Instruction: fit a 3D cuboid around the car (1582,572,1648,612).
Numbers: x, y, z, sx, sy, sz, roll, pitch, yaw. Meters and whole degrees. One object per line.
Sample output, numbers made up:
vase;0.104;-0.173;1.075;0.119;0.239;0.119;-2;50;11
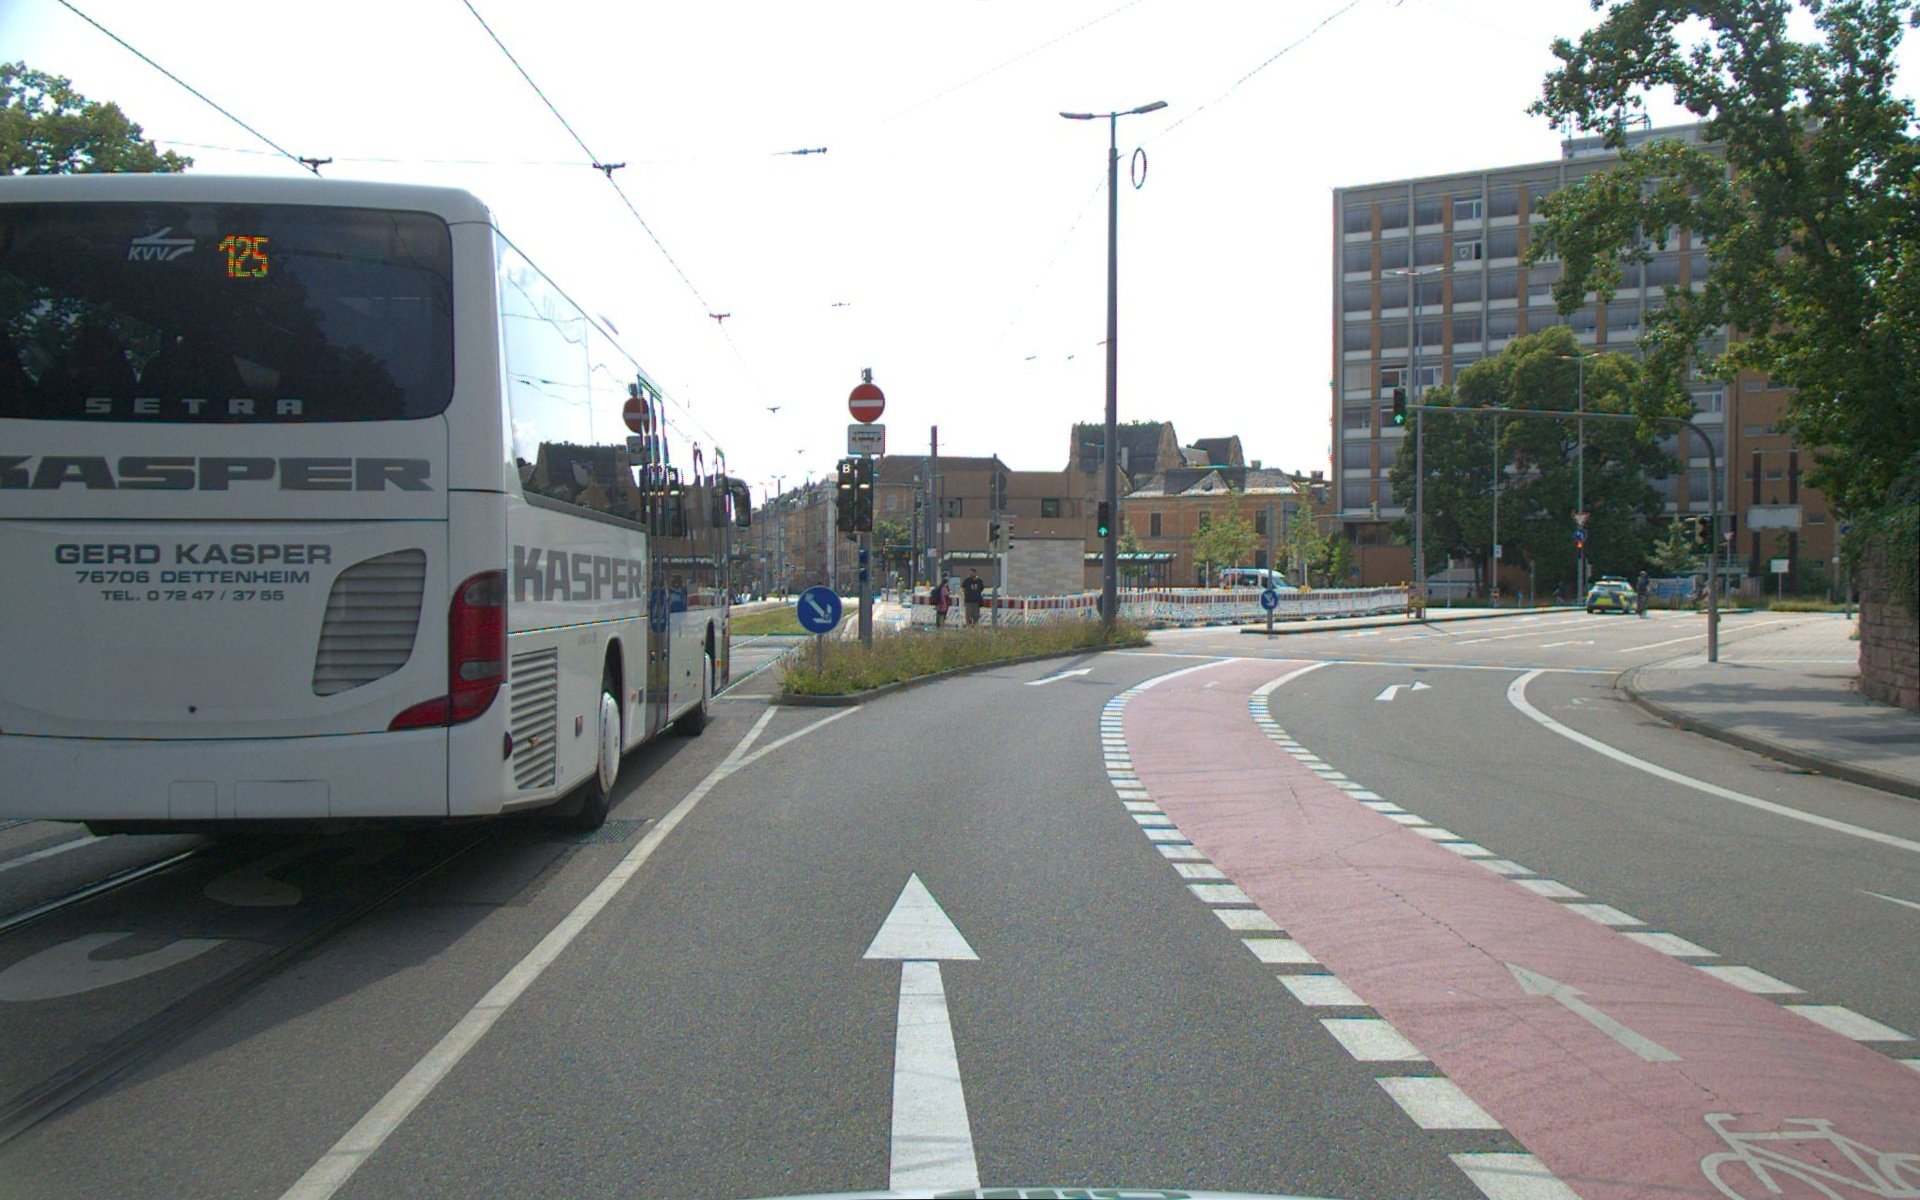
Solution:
car;30.204;-0.392;76.231;2.092;1.713;4.092;2;2;32

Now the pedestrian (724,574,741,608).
pedestrian;-13.754;-0.551;99.873;0.924;2.049;0.728;1;0;-14

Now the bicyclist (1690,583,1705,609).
bicyclist;42.634;-0.225;95.612;0.820;1.496;0.636;0;1;25

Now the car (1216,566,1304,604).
car;19.414;-0.957;107.267;2.278;2.359;5.512;0;0;-38

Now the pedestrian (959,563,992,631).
pedestrian;0.441;-0.088;46.778;0.779;1.917;0.610;0;0;-18

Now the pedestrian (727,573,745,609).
pedestrian;-13.066;-0.529;96.549;0.924;2.049;0.728;1;0;-14

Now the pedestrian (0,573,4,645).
pedestrian;-22.920;0.213;38.720;0.568;1.681;0.787;0;0;34

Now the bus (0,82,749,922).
bus;-3.562;-0.414;12.834;2.860;3.386;12.199;1;0;-3

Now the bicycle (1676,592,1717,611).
bicycle;42.577;0.098;95.647;2.140;1.103;0.636;0;1;25

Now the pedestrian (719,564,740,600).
pedestrian;-13.052;-1.026;93.713;0.930;2.049;0.724;1;0;-28

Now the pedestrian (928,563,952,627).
pedestrian;-0.546;-0.137;45.217;0.598;1.736;0.623;0;0;5

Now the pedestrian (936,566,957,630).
pedestrian;-0.374;-0.057;46.208;0.400;1.766;0.621;0;0;20

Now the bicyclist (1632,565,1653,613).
bicyclist;29.146;-0.473;70.657;0.705;2.008;0.837;0;1;32

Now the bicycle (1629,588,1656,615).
bicycle;29.167;0.070;70.696;0.708;1.103;2.185;0;1;32

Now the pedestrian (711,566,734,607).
pedestrian;-11.932;-0.665;83.147;0.931;2.049;0.723;1;0;-32
